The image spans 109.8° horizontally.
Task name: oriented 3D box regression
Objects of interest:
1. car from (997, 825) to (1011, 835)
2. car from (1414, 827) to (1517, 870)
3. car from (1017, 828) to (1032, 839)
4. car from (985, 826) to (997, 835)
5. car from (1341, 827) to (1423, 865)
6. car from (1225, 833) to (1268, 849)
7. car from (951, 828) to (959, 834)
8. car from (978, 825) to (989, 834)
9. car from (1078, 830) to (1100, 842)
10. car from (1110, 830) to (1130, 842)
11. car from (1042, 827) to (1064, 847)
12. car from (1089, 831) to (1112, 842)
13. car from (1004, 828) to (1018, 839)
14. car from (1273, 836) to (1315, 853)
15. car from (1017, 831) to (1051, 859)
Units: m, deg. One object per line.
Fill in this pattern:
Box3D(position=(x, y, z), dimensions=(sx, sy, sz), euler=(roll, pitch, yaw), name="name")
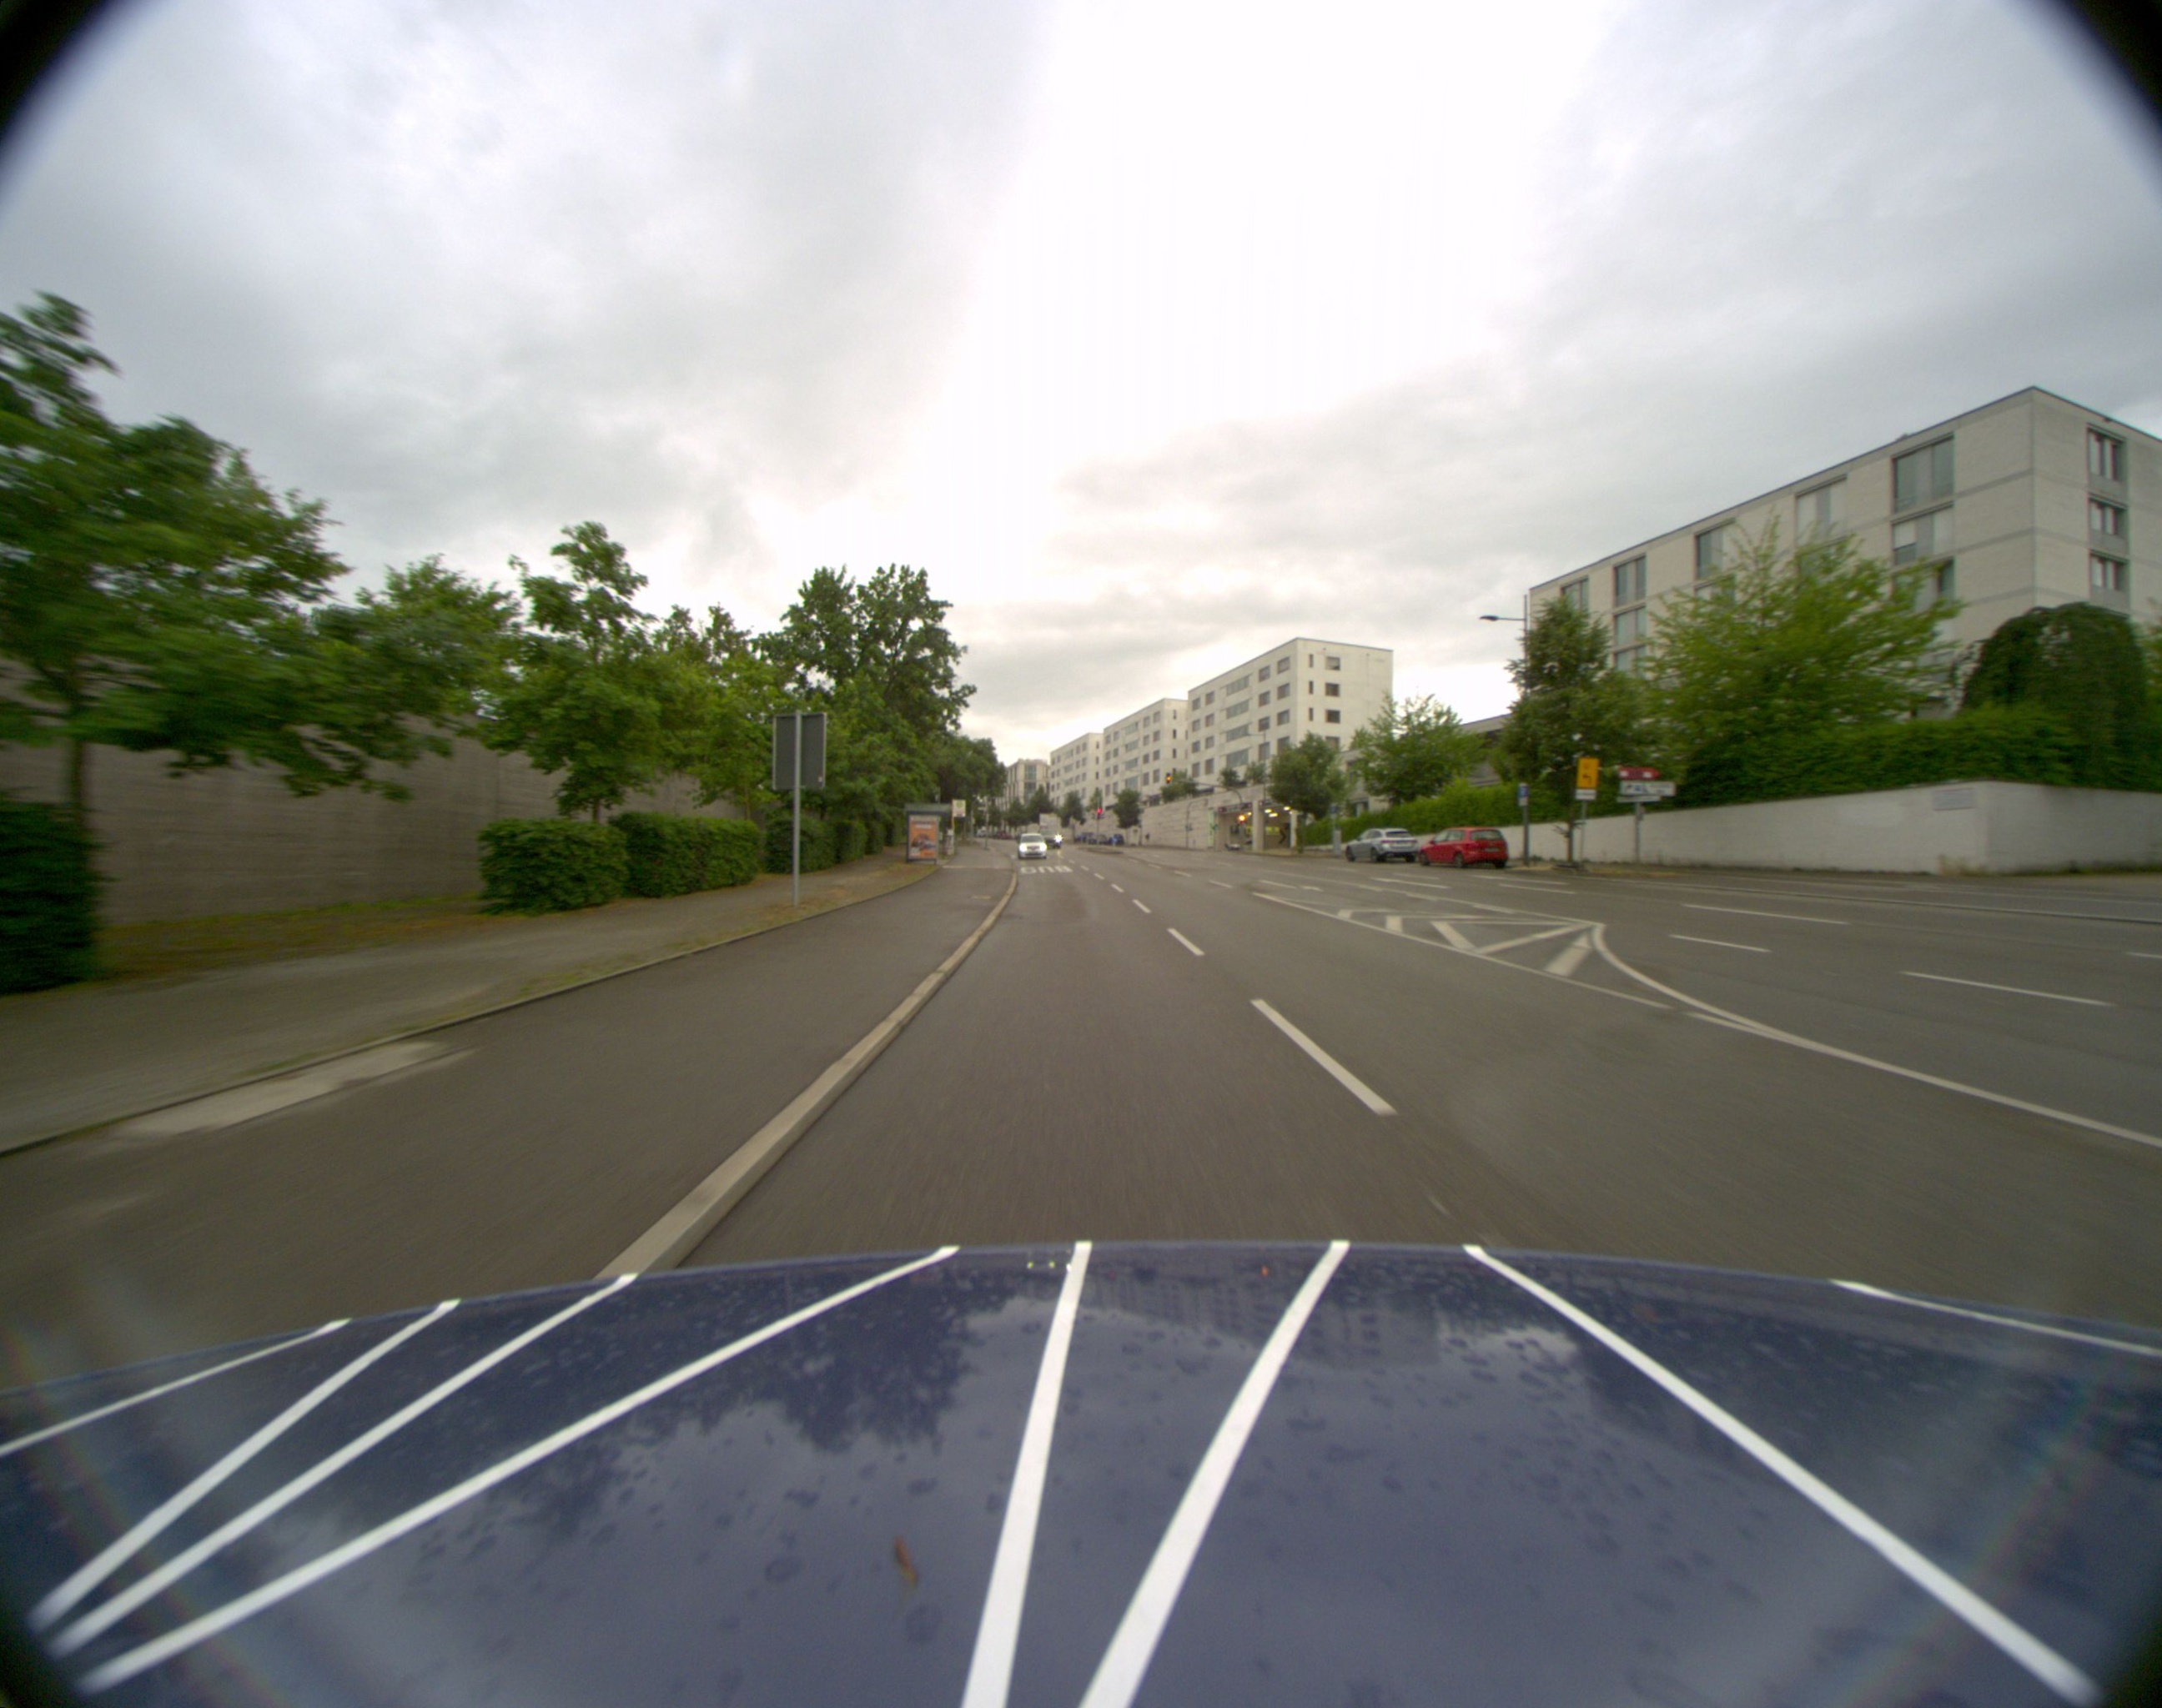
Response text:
Box3D(position=(-15.350, -4.797, 151.278), dimensions=(1.967, 1.829, 4.441), euler=(1, 2, -16), name="car")
Box3D(position=(14.919, -0.256, 29.750), dimensions=(1.669, 1.578, 4.214), euler=(0, 2, -3), name="car")
Box3D(position=(-10.871, -3.890, 145.188), dimensions=(1.927, 2.002, 4.379), euler=(-1, 1, -17), name="car")
Box3D(position=(-20.871, -5.411, 176.004), dimensions=(1.927, 2.002, 4.379), euler=(-1, 1, -17), name="car")
Box3D(position=(14.418, -0.430, 36.695), dimensions=(1.769, 1.644, 4.881), euler=(-1, 2, -3), name="car")
Box3D(position=(18.576, -1.432, 85.317), dimensions=(4.351, 1.642, 1.996), euler=(1, 2, -21), name="car")
Box3D(position=(-39.009, -7.038, 235.483), dimensions=(2.001, 1.740, 3.993), euler=(0, 2, -15), name="car")
Box3D(position=(-23.322, -5.812, 182.042), dimensions=(1.927, 2.002, 4.379), euler=(-1, 1, -17), name="car")
Box3D(position=(1.168, -2.618, 110.298), dimensions=(1.792, 1.623, 3.991), euler=(1, 2, -21), name="car")
Box3D(position=(5.138, -2.403, 100.968), dimensions=(1.683, 1.450, 2.690), euler=(1, 2, -21), name="car")
Box3D(position=(-2.452, -1.483, 66.669), dimensions=(1.830, 1.584, 3.999), euler=(-1, 0, -1), name="car")
Box3D(position=(2.739, -2.466, 106.141), dimensions=(1.865, 1.470, 3.992), euler=(0, 2, -21), name="car")
Box3D(position=(-14.611, -4.262, 158.233), dimensions=(1.927, 2.002, 4.379), euler=(-1, 1, -17), name="car")
Box3D(position=(23.424, -1.086, 83.561), dimensions=(4.003, 1.762, 1.797), euler=(1, 2, -17), name="car")
Box3D(position=(-2.890, -0.542, 47.434), dimensions=(1.927, 1.652, 4.000), euler=(0, -1, 0), name="car")
